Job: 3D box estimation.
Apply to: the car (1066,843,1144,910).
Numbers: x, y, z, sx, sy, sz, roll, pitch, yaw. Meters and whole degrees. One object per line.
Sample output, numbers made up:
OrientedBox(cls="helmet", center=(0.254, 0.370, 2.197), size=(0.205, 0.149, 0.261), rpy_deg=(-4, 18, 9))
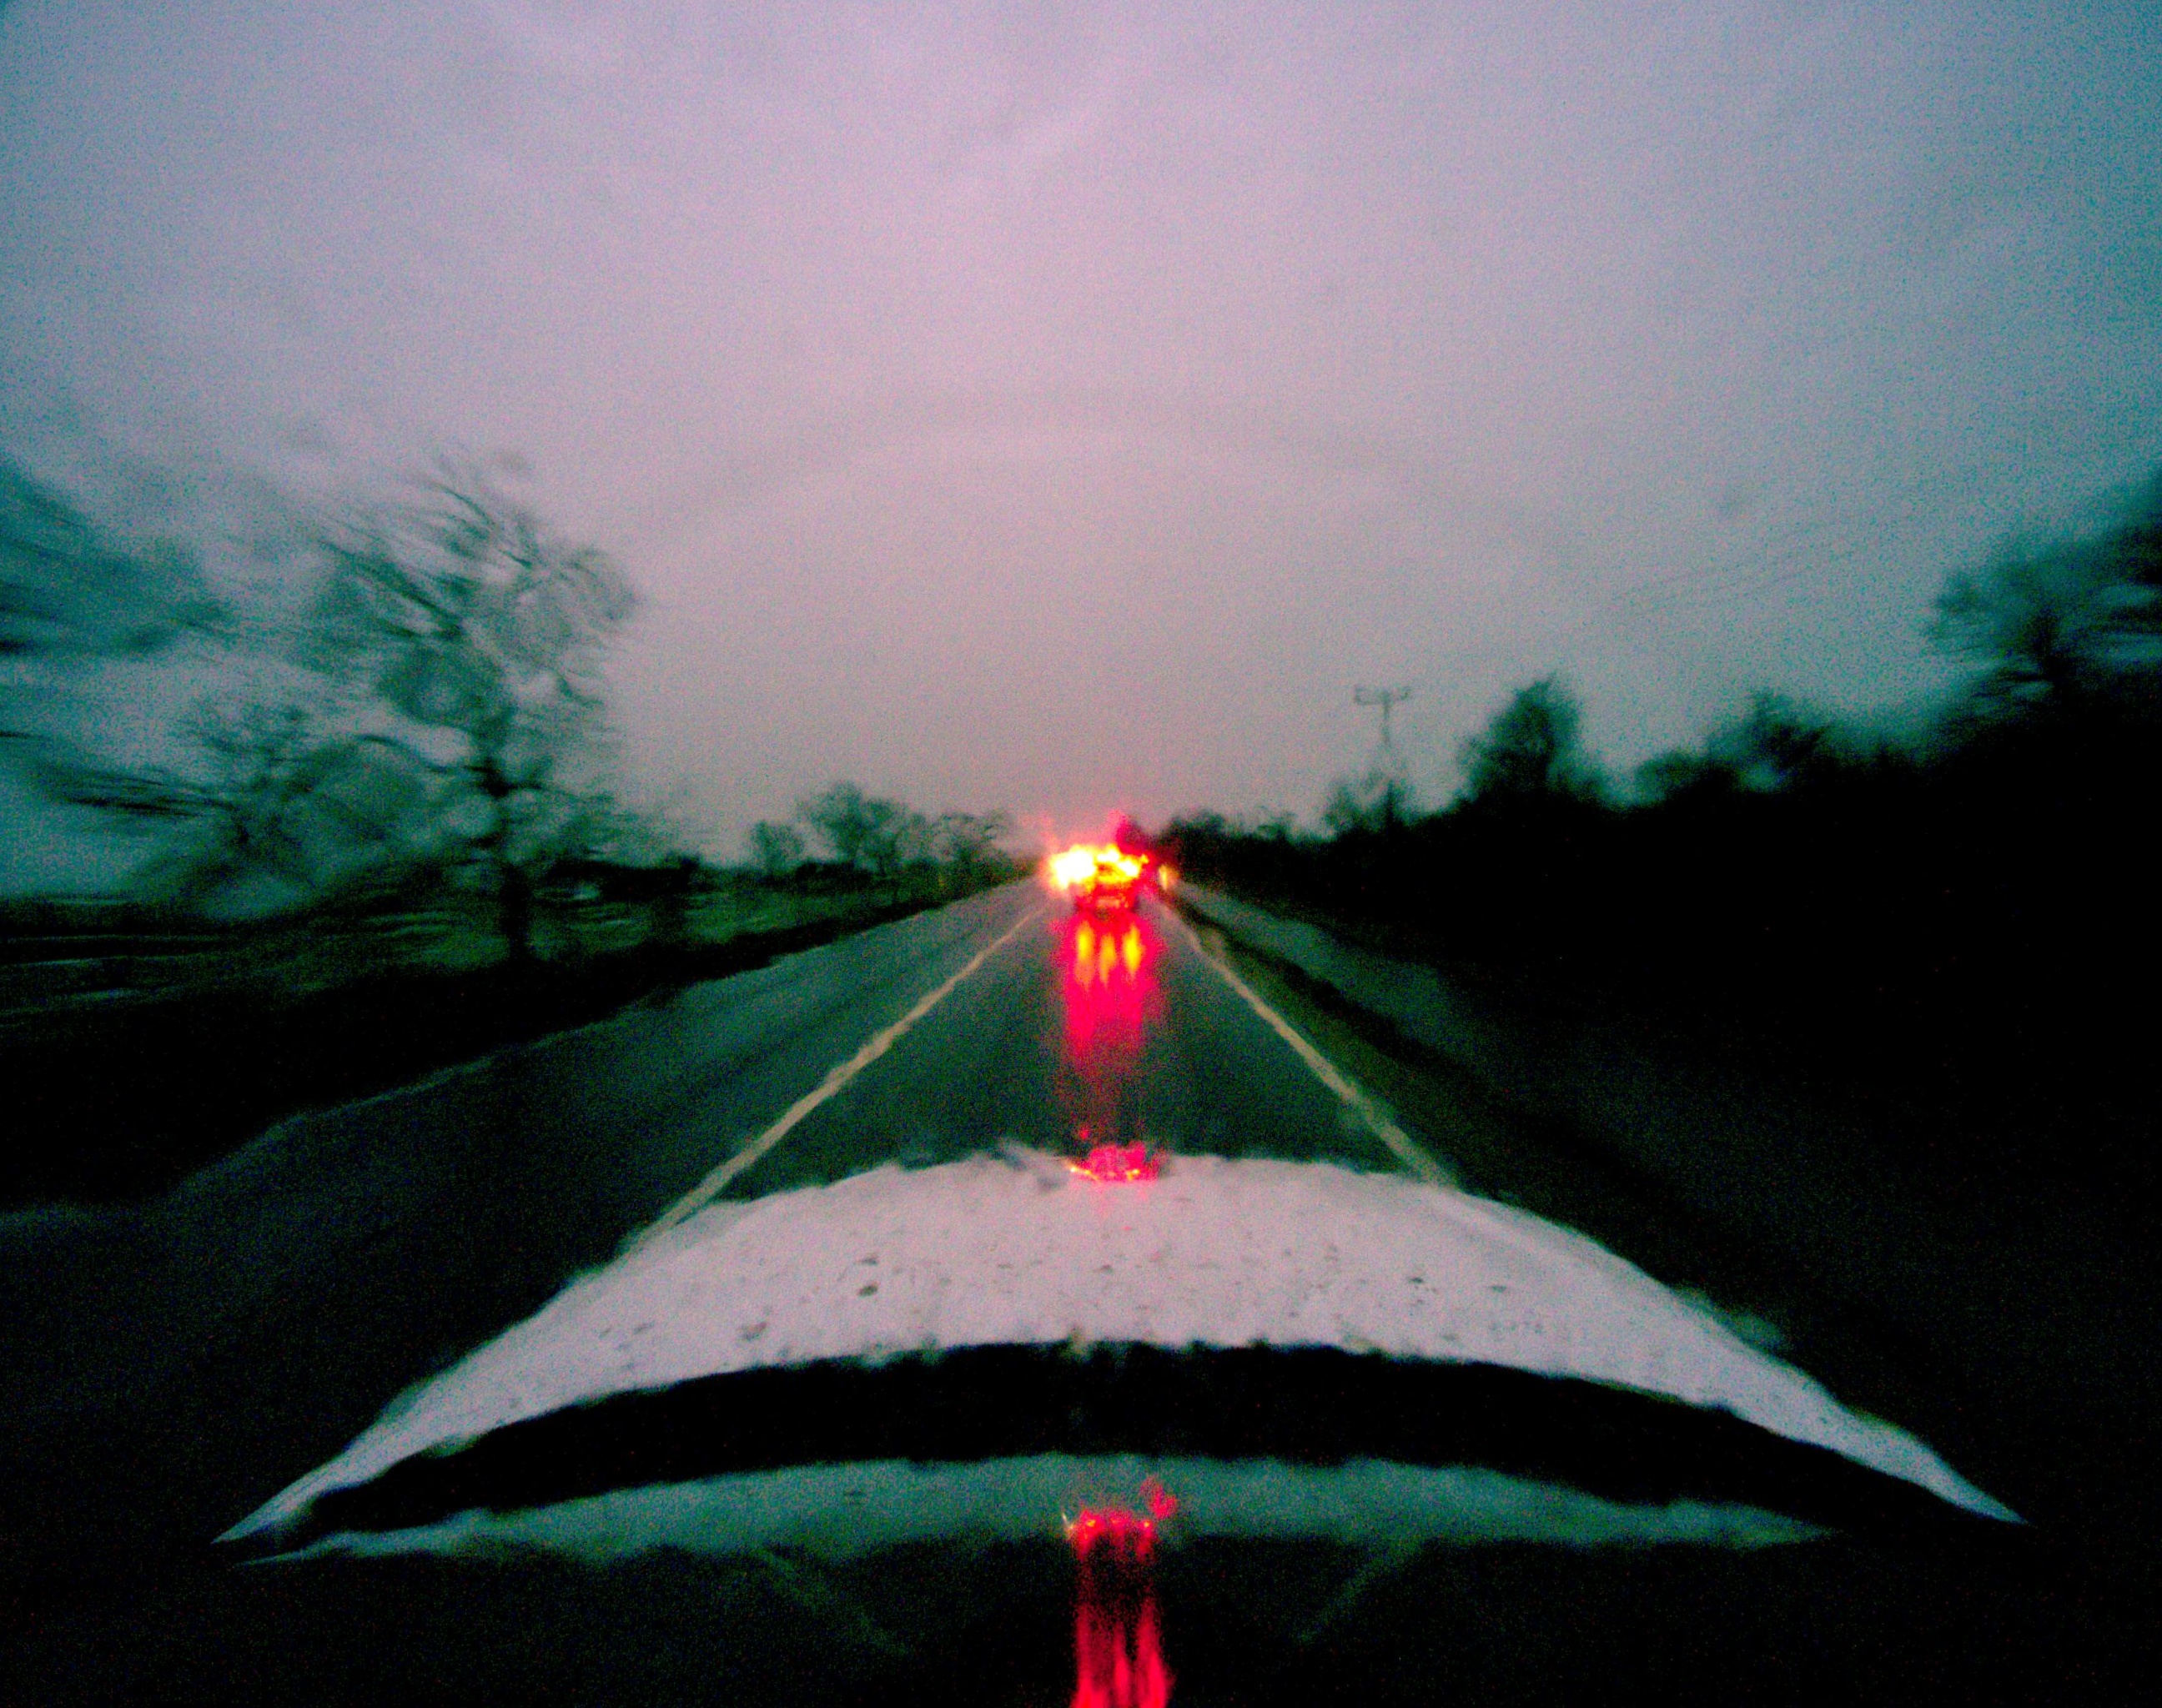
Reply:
OrientedBox(cls="car", center=(0.742, 0.616, 25.057), size=(2.112, 1.820, 4.982), rpy_deg=(-1, 0, 2))

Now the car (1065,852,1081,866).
OrientedBox(cls="car", center=(-0.986, 0.602, 98.560), size=(1.849, 1.517, 4.514), rpy_deg=(-3, 0, -1))

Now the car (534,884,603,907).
OrientedBox(cls="car", center=(-33.285, 2.695, 53.010), size=(3.444, 1.342, 1.592), rpy_deg=(0, 0, -13))
